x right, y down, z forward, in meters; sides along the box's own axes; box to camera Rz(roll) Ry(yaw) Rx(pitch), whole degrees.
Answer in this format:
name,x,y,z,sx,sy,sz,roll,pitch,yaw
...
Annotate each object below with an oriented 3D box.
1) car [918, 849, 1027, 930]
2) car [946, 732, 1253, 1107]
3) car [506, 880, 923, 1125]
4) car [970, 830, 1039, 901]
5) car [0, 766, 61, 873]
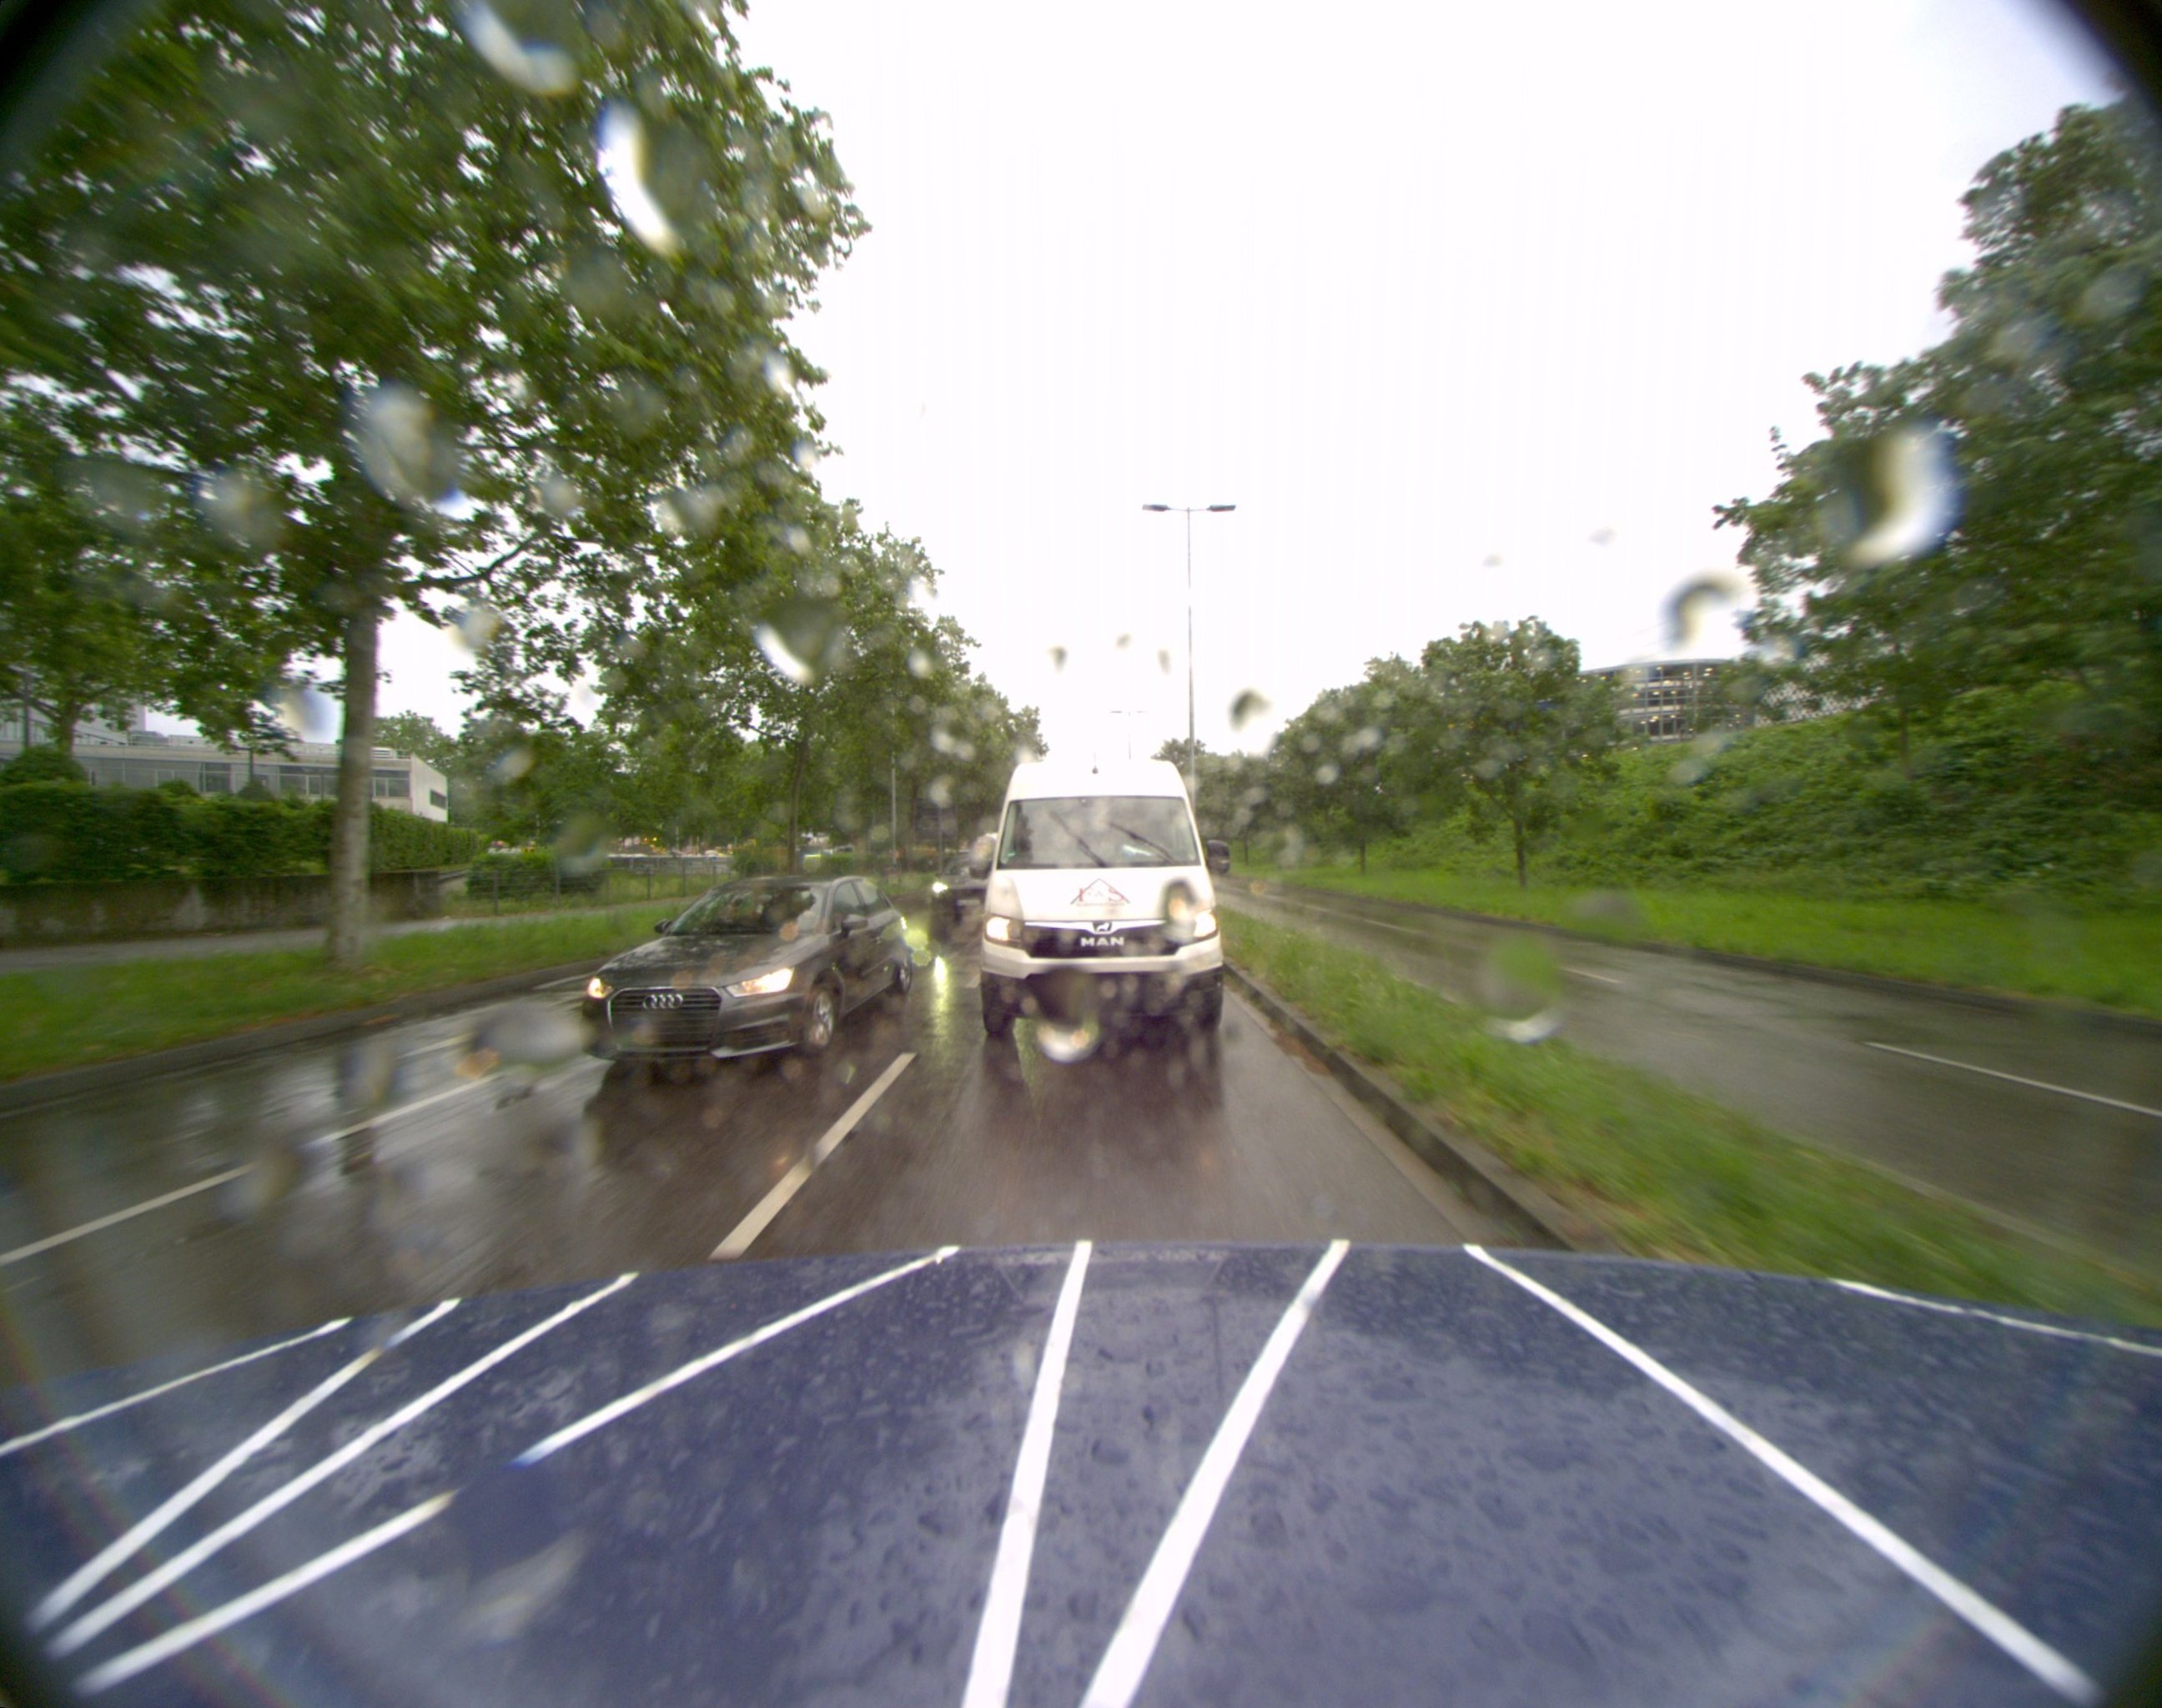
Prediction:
name,x,y,z,sx,sy,sz,roll,pitch,yaw
car,-2.501,0.766,18.633,1.998,1.738,4.327,0,1,1
car,0.118,0.400,7.881,1.969,2.419,5.960,0,1,0
car,-2.785,1.041,6.845,1.840,1.390,3.753,-2,1,1
car,-2.744,0.377,28.504,1.998,2.416,4.977,0,1,1
car,-27.632,-0.708,16.757,5.706,2.442,1.995,-2,1,-36
